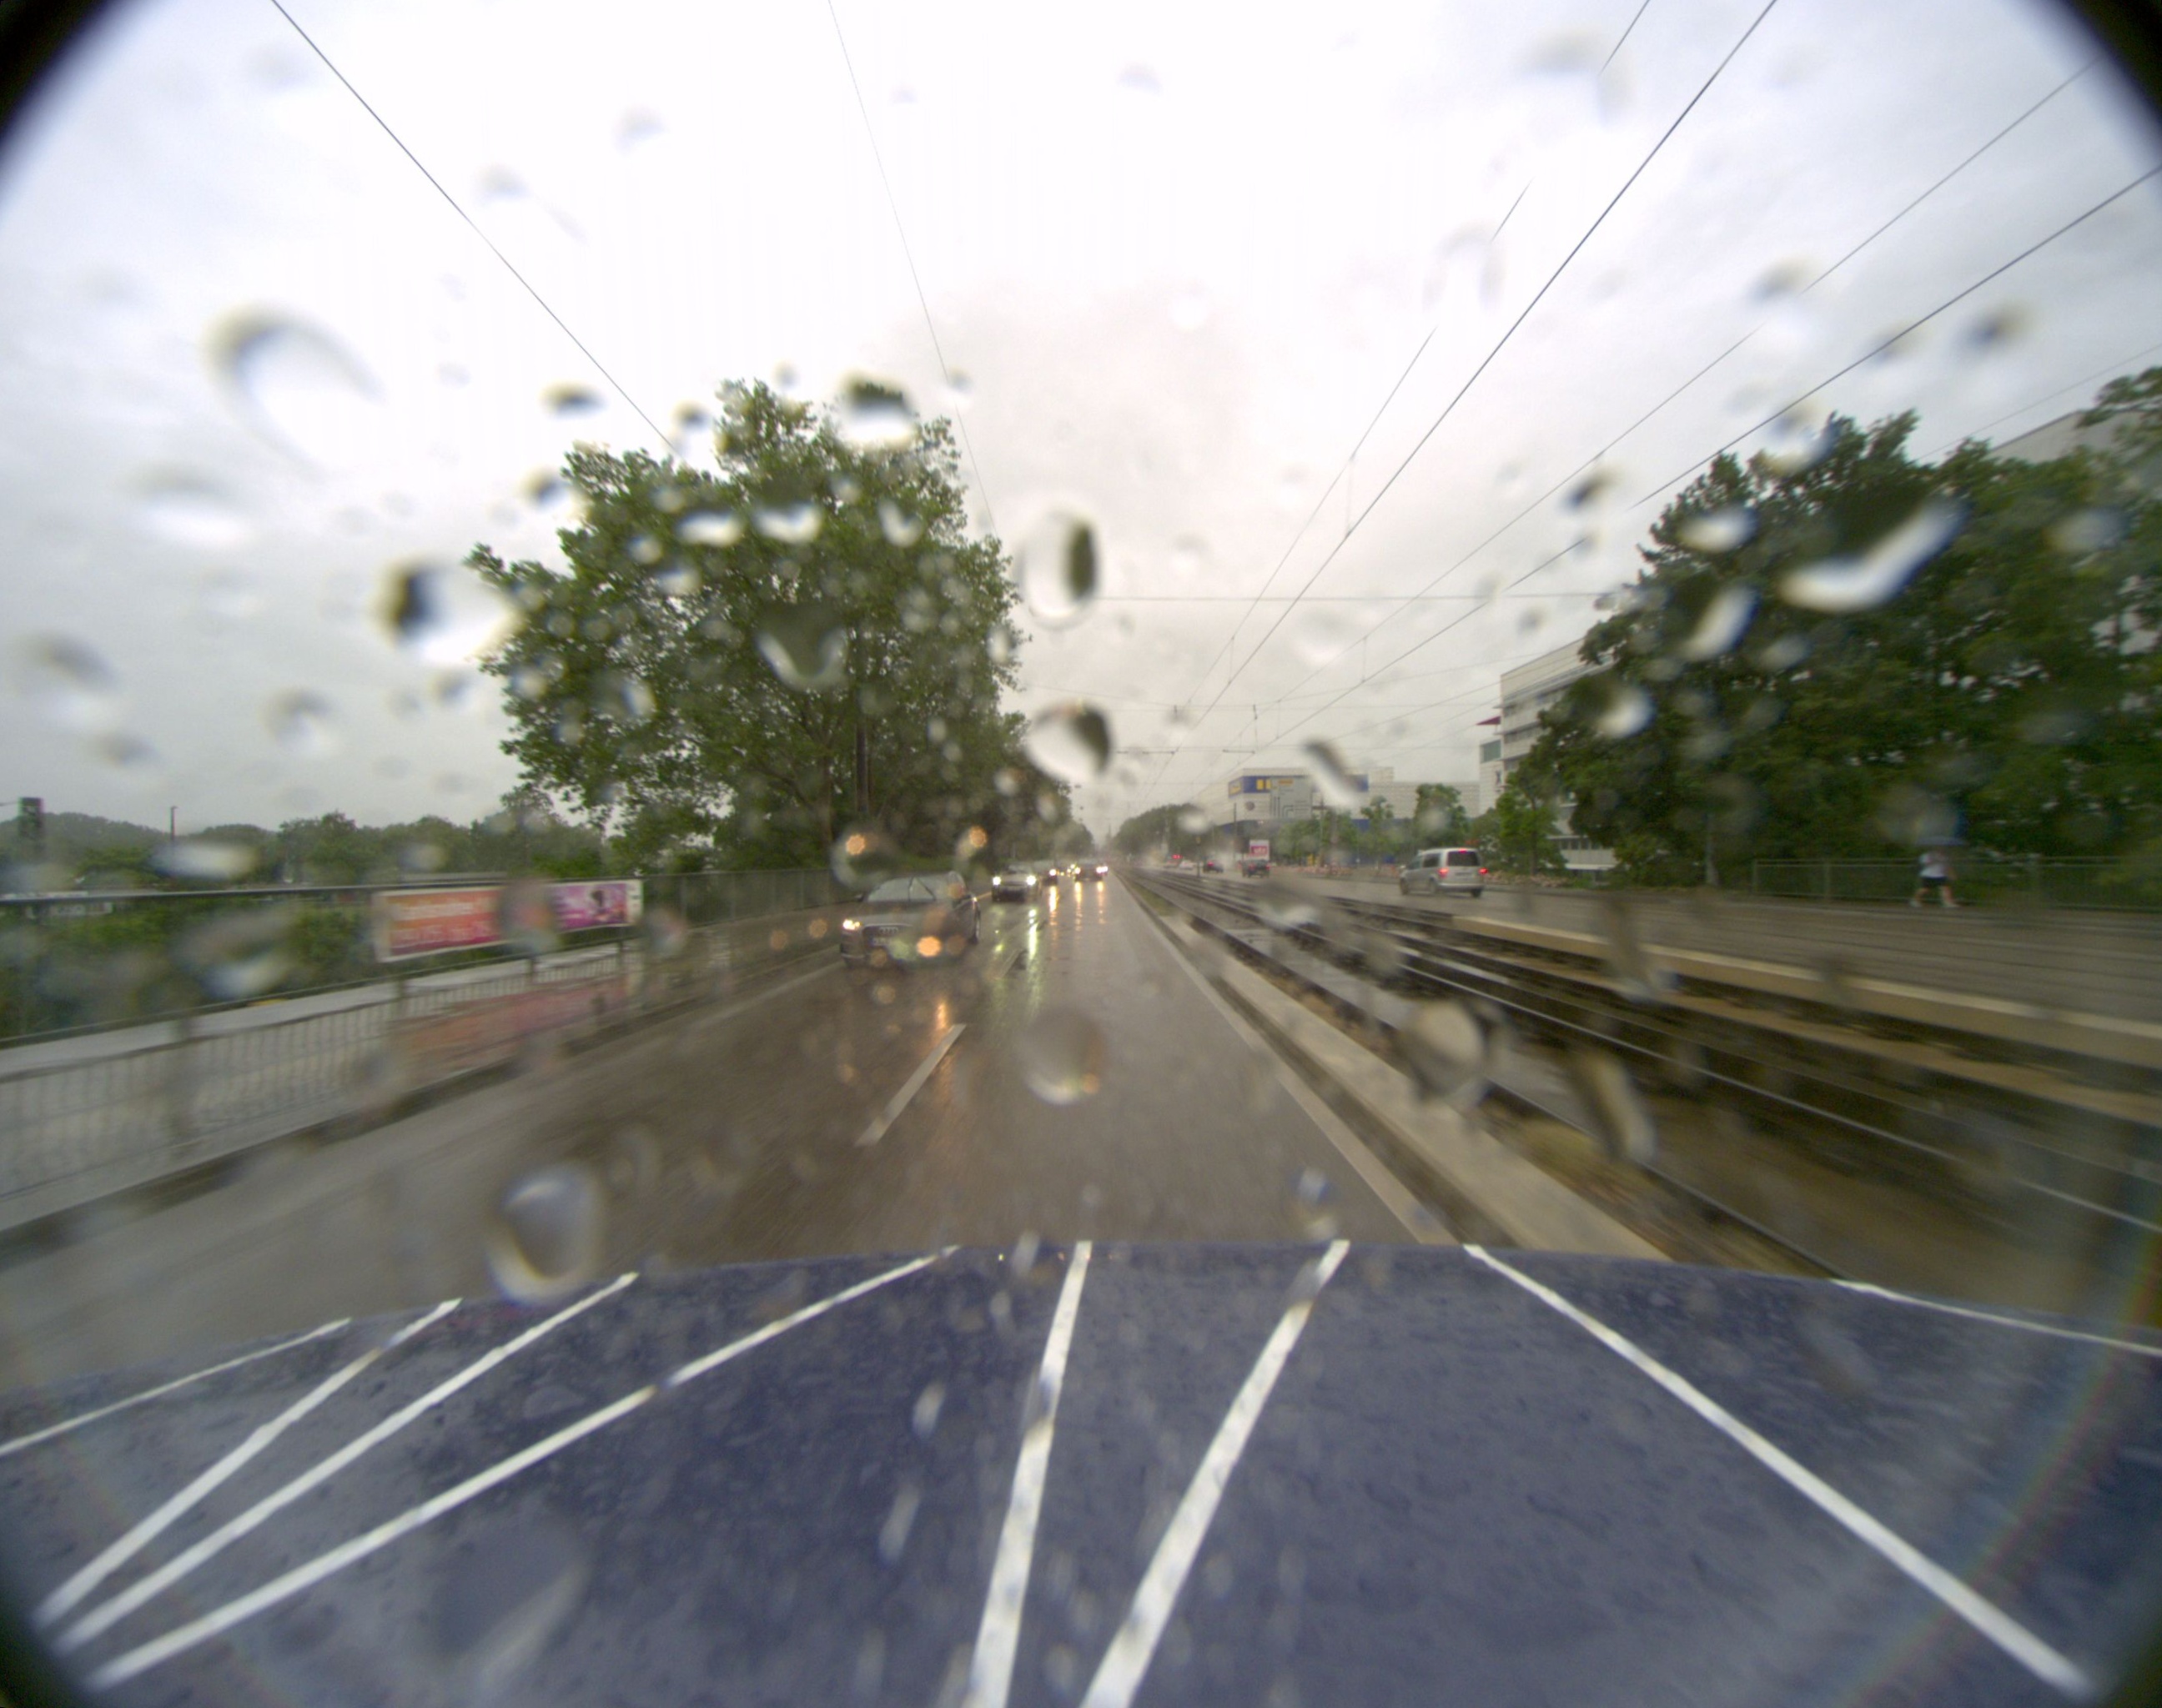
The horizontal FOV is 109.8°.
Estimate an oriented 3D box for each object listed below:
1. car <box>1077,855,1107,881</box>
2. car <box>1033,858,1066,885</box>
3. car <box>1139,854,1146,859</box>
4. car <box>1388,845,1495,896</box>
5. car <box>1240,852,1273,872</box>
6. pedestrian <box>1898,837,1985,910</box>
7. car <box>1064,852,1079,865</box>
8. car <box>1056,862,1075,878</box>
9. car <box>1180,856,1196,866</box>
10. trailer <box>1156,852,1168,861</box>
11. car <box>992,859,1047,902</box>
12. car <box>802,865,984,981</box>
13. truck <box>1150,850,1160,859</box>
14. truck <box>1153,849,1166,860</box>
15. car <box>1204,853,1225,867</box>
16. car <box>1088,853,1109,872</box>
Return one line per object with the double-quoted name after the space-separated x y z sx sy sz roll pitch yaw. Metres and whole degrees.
0.680 0.909 49.522 1.876 1.573 4.043 -2 -1 0 "car"
-1.851 1.024 45.304 1.776 1.453 4.092 -2 -1 -1 "car"
19.593 0.778 242.286 1.823 1.613 4.536 -1 0 1 "car"
13.957 0.594 29.765 1.998 1.805 4.659 -1 0 1 "car"
14.798 0.658 64.249 1.998 1.608 4.254 0 0 3 "car"
21.165 0.473 18.714 0.853 1.749 1.121 0 1 1 "pedestrian"
-1.186 0.538 95.924 1.715 1.515 4.044 -2 -1 1 "car"
-1.593 1.614 77.587 1.715 1.475 4.044 -2 -1 1 "car"
16.650 1.037 117.903 1.998 1.574 4.767 0 0 2 "car"
17.742 0.472 166.072 2.124 1.782 3.836 -3 0 1 "trailer"
-2.307 0.965 29.305 1.796 1.406 3.853 -2 1 -1 "car"
-2.836 0.973 12.447 1.973 1.519 3.991 -2 -1 0 "car"
19.669 0.107 201.464 2.232 2.447 6.067 1 0 2 "truck"
17.801 0.185 171.742 2.440 2.443 7.220 1 0 2 "truck"
15.849 0.704 90.296 1.776 1.673 4.689 0 0 0 "car"
1.474 0.718 65.160 1.715 1.515 4.044 -2 -1 1 "car"
